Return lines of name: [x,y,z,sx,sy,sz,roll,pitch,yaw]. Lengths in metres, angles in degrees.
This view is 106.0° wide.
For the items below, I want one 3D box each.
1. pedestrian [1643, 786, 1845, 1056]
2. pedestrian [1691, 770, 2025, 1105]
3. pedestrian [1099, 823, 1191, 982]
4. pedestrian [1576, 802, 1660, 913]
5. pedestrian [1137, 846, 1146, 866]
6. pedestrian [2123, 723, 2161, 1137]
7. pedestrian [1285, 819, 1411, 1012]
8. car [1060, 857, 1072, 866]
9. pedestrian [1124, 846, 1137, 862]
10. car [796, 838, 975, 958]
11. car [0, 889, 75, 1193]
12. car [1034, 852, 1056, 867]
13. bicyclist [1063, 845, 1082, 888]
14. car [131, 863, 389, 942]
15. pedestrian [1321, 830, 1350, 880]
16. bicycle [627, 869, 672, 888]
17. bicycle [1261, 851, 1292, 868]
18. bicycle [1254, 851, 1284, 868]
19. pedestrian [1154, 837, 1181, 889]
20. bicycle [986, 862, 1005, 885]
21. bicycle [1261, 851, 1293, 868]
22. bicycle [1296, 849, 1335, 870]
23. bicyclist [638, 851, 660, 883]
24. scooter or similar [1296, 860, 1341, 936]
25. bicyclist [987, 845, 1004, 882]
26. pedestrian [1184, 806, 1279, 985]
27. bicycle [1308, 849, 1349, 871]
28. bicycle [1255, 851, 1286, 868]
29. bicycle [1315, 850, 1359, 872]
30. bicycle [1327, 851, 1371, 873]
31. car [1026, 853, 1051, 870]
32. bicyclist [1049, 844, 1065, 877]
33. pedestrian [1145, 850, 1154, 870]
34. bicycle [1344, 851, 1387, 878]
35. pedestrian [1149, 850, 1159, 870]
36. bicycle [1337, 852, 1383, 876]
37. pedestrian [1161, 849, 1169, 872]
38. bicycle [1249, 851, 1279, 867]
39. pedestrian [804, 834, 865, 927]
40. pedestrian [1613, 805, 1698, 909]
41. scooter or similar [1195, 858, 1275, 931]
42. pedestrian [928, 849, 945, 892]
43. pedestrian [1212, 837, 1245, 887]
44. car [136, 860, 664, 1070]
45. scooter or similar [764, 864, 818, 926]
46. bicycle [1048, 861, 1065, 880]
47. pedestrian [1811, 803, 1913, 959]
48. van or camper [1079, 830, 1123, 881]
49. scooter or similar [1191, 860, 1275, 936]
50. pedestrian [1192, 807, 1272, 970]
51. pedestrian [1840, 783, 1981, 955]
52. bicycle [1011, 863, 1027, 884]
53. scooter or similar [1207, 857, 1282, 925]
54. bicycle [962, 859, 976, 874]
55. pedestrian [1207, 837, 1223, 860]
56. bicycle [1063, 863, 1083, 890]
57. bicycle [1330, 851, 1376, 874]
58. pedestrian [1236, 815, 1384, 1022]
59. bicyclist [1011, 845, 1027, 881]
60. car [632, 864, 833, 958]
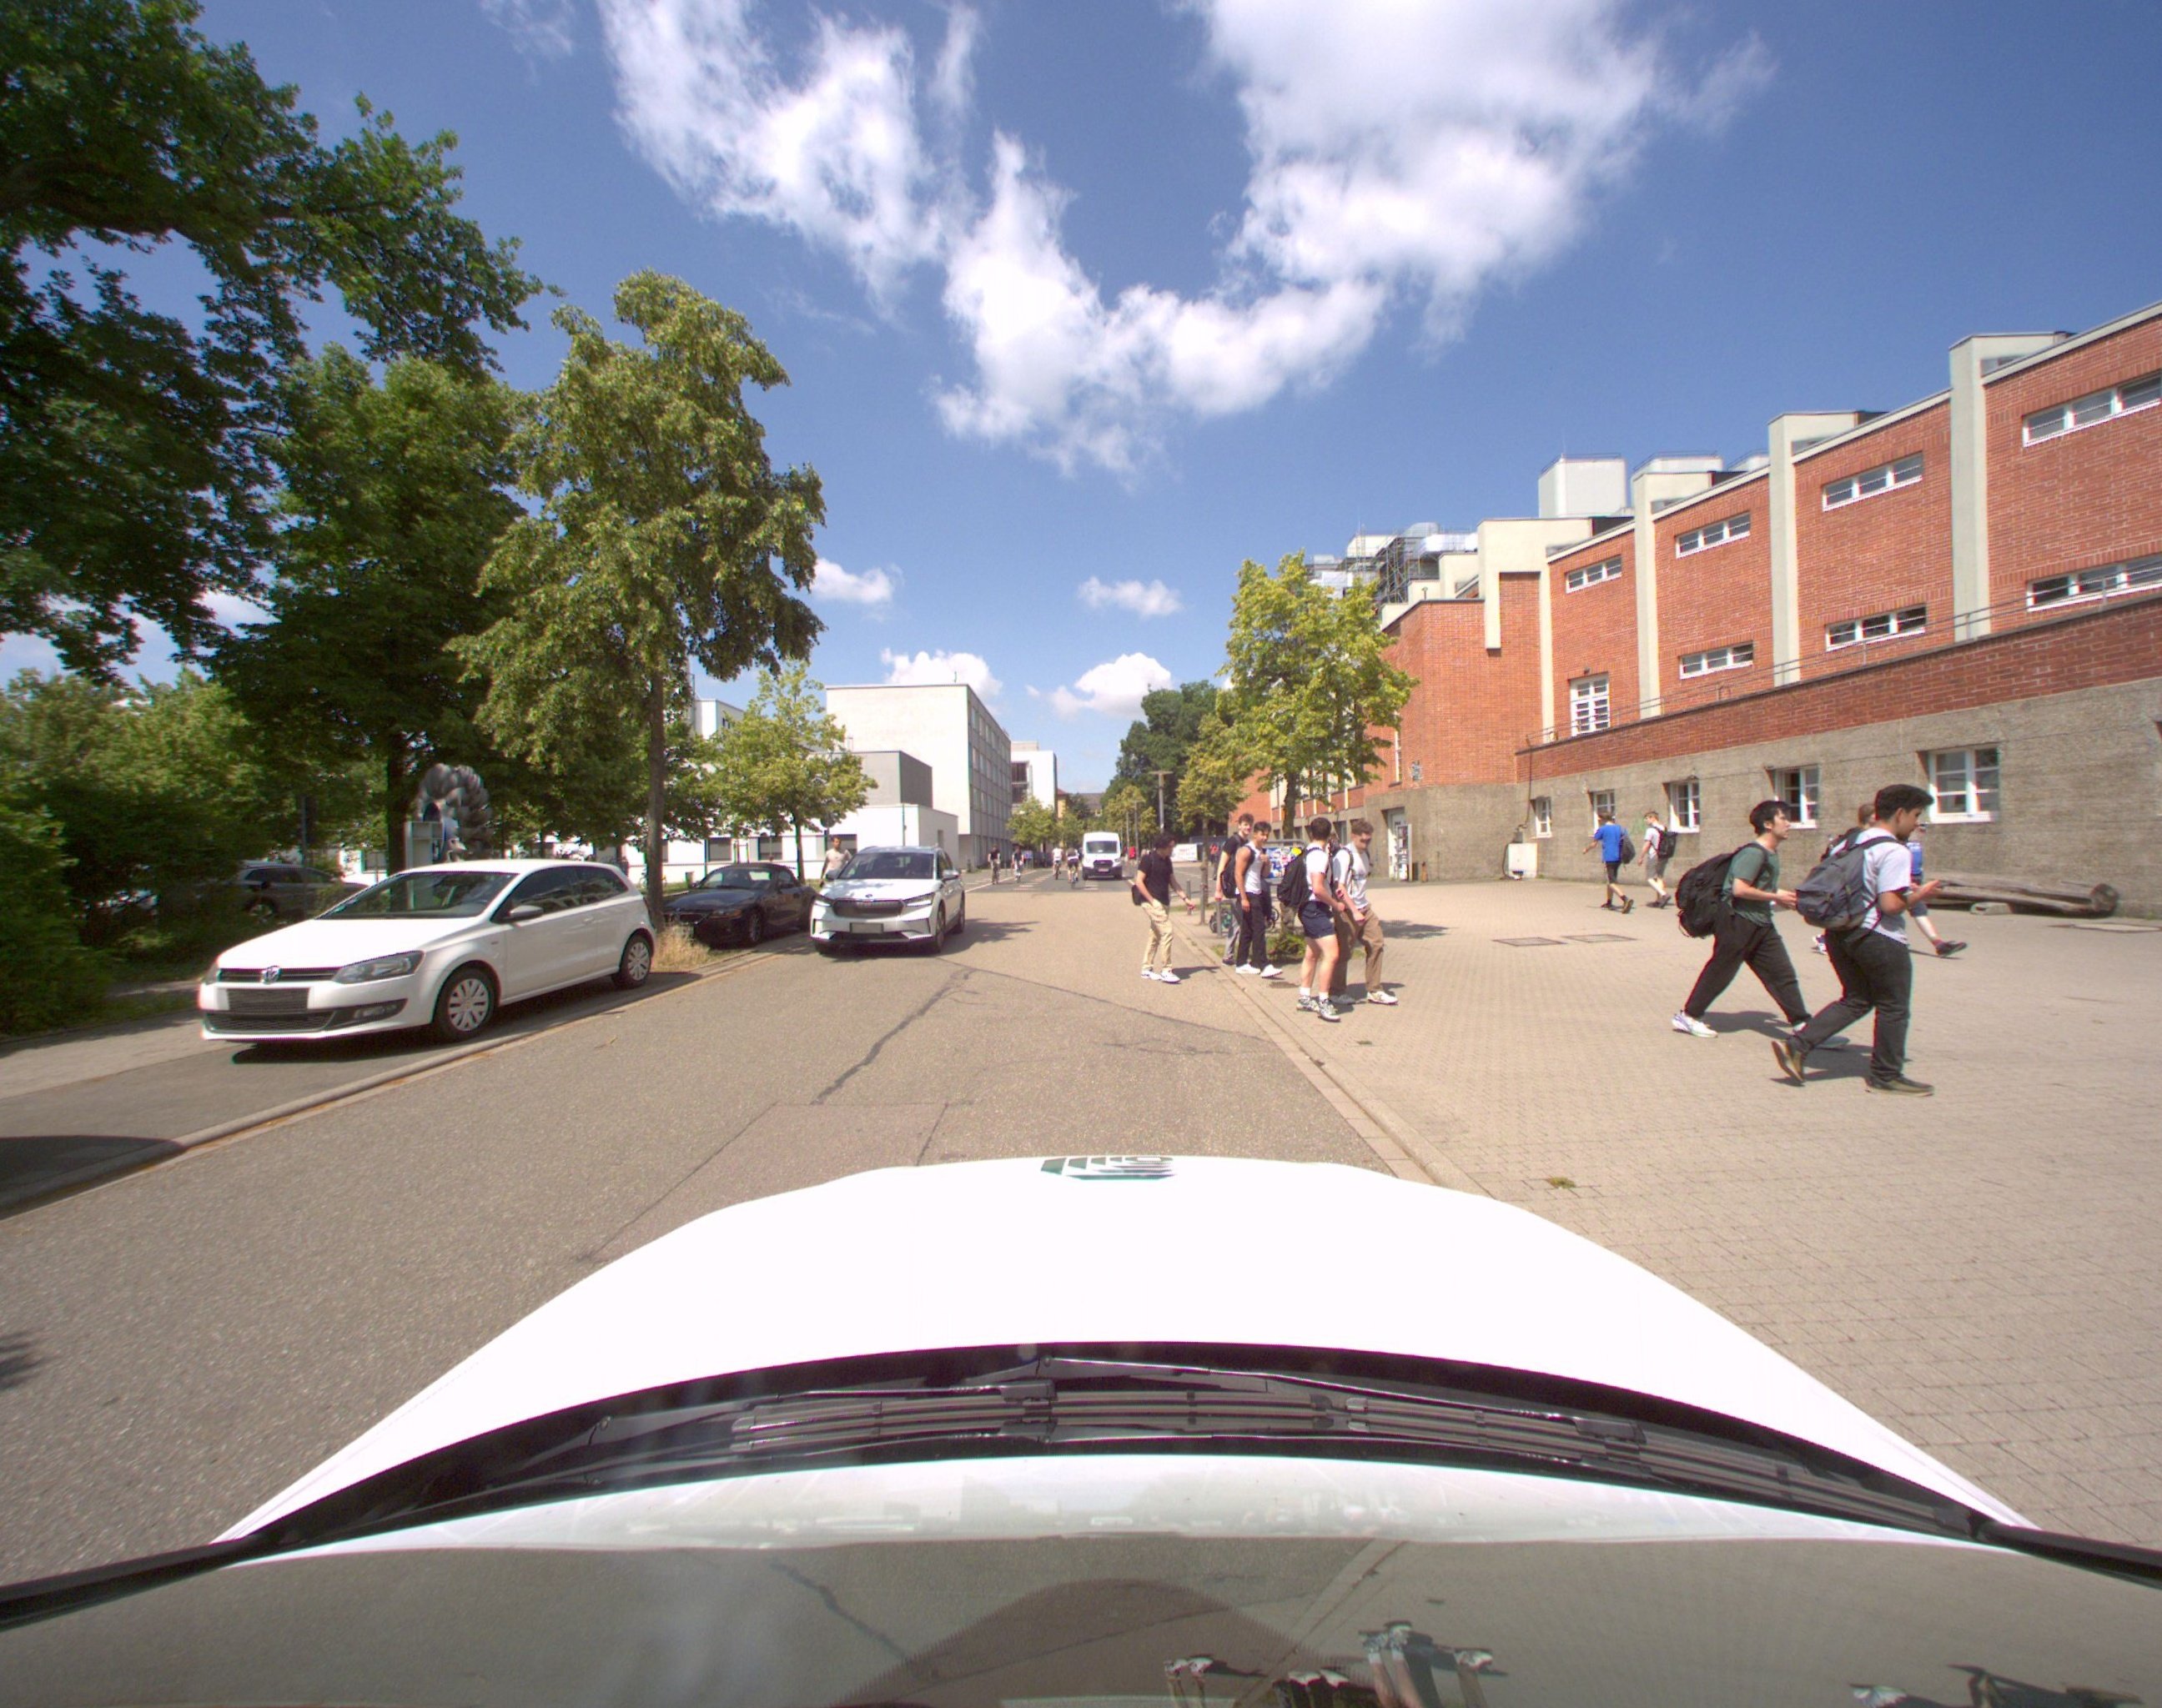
pedestrian: [4.694,0.431,5.778,0.708,1.720,0.981,-2,0,-45]
pedestrian: [4.355,0.455,4.675,1.096,1.716,0.714,-4,0,19]
pedestrian: [0.771,0.541,9.573,0.794,1.772,0.859,-2,0,22]
pedestrian: [9.619,0.054,14.628,0.700,1.891,0.992,-4,1,-6]
pedestrian: [5.757,0.167,77.328,0.787,1.860,1.244,-2,0,2]
pedestrian: [5.421,0.328,3.404,0.855,1.860,1.107,-2,0,-24]
pedestrian: [2.579,0.556,7.876,0.897,1.739,0.683,-2,0,40]
car: [-2.684,1.292,145.310,1.787,1.530,4.006,-2,0,5]
pedestrian: [6.626,0.013,108.933,1.492,1.996,1.649,-4,1,5]
car: [-2.998,0.650,13.550,1.912,1.619,4.517,1,-1,-1]
car: [-5.759,0.842,1.826,1.718,1.343,4.168,0,0,2]
car: [-3.828,0.550,86.775,1.787,1.530,4.006,-2,0,5]
bicyclist: [-0.343,0.498,31.845,0.715,1.662,1.094,0,-2,-2]
car: [-20.536,1.128,20.720,1.921,1.516,4.441,-4,1,1]
pedestrian: [9.894,0.039,31.683,0.787,1.860,1.117,-2,0,2]
bicycle: [-23.893,1.349,45.128,2.106,1.002,0.812,-1,-1,5]
bicycle: [12.375,0.347,51.634,1.803,0.985,0.560,-3,0,0]
bicycle: [12.187,0.342,52.902,1.803,0.985,0.560,-3,0,0]
pedestrian: [2.930,0.315,27.605,0.700,1.695,0.962,-5,-3,1]
bicycle: [-3.874,0.872,36.911,0.675,0.965,2.002,0,0,-1]
bicycle: [12.236,0.345,50.804,1.803,0.985,0.560,-3,0,0]
bicycle: [12.018,0.300,41.698,1.803,0.985,0.560,-3,0,0]
bicyclist: [-23.952,0.718,45.162,0.687,1.756,0.812,-1,-1,6]
scooter or similar: [3.929,0.704,13.456,0.643,1.160,1.270,-2,0,16]
bicyclist: [-3.884,0.421,36.978,0.641,1.601,0.908,-2,0,-1]
pedestrian: [1.750,0.465,9.528,0.620,1.980,0.820,-2,-2,-30]
bicycle: [12.079,0.281,39.737,1.803,0.985,0.560,-3,0,0]
bicycle: [12.156,0.342,52.339,1.803,0.985,0.560,-3,0,0]
bicycle: [11.928,0.331,37.974,1.803,0.912,0.560,-3,0,0]
bicycle: [12.024,0.350,36.560,1.803,0.912,0.560,-3,0,0]
car: [-4.119,0.683,79.361,1.787,1.530,4.006,-2,0,5]
bicyclist: [-1.282,0.351,43.692,0.768,1.756,0.848,2,0,-1]
pedestrian: [6.726,0.584,80.361,0.787,1.860,1.026,-2,0,2]
bicycle: [11.797,0.442,33.803,1.530,1.033,0.560,-2,0,0]
pedestrian: [6.909,0.529,77.071,0.787,1.860,1.026,-2,0,2]
bicycle: [12.020,0.433,35.108,1.778,0.978,0.560,-2,0,-1]
pedestrian: [6.993,0.538,67.936,0.574,1.860,0.569,-2,0,-1]
bicycle: [12.266,0.327,54.623,1.803,0.985,0.560,-3,0,0]
pedestrian: [-5.328,0.551,17.571,1.021,1.903,1.167,0,-1,-29]
pedestrian: [10.520,0.045,14.948,0.700,1.803,0.992,-4,1,-5]
scooter or similar: [2.839,0.737,15.018,1.248,1.265,0.655,-2,0,33]
pedestrian: [-6.135,0.717,34.607,0.667,1.785,0.981,-1,-1,-12]
pedestrian: [5.306,0.286,29.378,0.852,1.732,1.158,-2,0,-6]
car: [-5.699,0.781,7.556,1.656,1.412,3.807,0,0,1]
scooter or similar: [-6.510,0.903,18.336,0.501,1.299,1.220,-3,0,13]
bicycle: [-1.302,0.872,43.775,0.806,1.002,2.123,1,0,-1]
pedestrian: [8.474,0.283,8.854,0.501,1.630,0.569,-2,-1,-10]
van or camper: [1.089,0.108,42.352,1.985,2.446,4.574,-2,-1,4]
scooter or similar: [2.653,0.756,14.245,1.248,1.265,0.655,-2,0,33]
pedestrian: [1.938,0.425,10.388,0.819,1.980,0.695,-2,0,21]
pedestrian: [9.166,0.157,9.022,0.708,1.787,0.750,-4,0,-10]
bicycle: [-2.960,0.911,38.840,0.675,0.965,2.002,0,0,-2]
scooter or similar: [3.177,0.703,15.828,1.248,1.265,0.644,-2,0,33]
bicycle: [-7.886,0.876,57.309,0.520,0.985,1.635,-3,0,5]
pedestrian: [10.841,-0.444,65.808,0.843,1.860,1.123,-2,0,33]
bicycle: [-0.320,0.873,32.088,0.704,0.993,1.910,-2,0,-1]
bicycle: [11.932,0.357,35.803,1.803,0.912,0.560,-3,0,0]
pedestrian: [2.079,0.555,7.418,0.971,1.739,0.705,-5,-2,41]
bicyclist: [-2.966,0.420,38.856,0.666,1.681,0.992,-2,0,-3]
car: [-5.825,0.874,14.183,1.639,1.300,3.930,-2,0,2]
